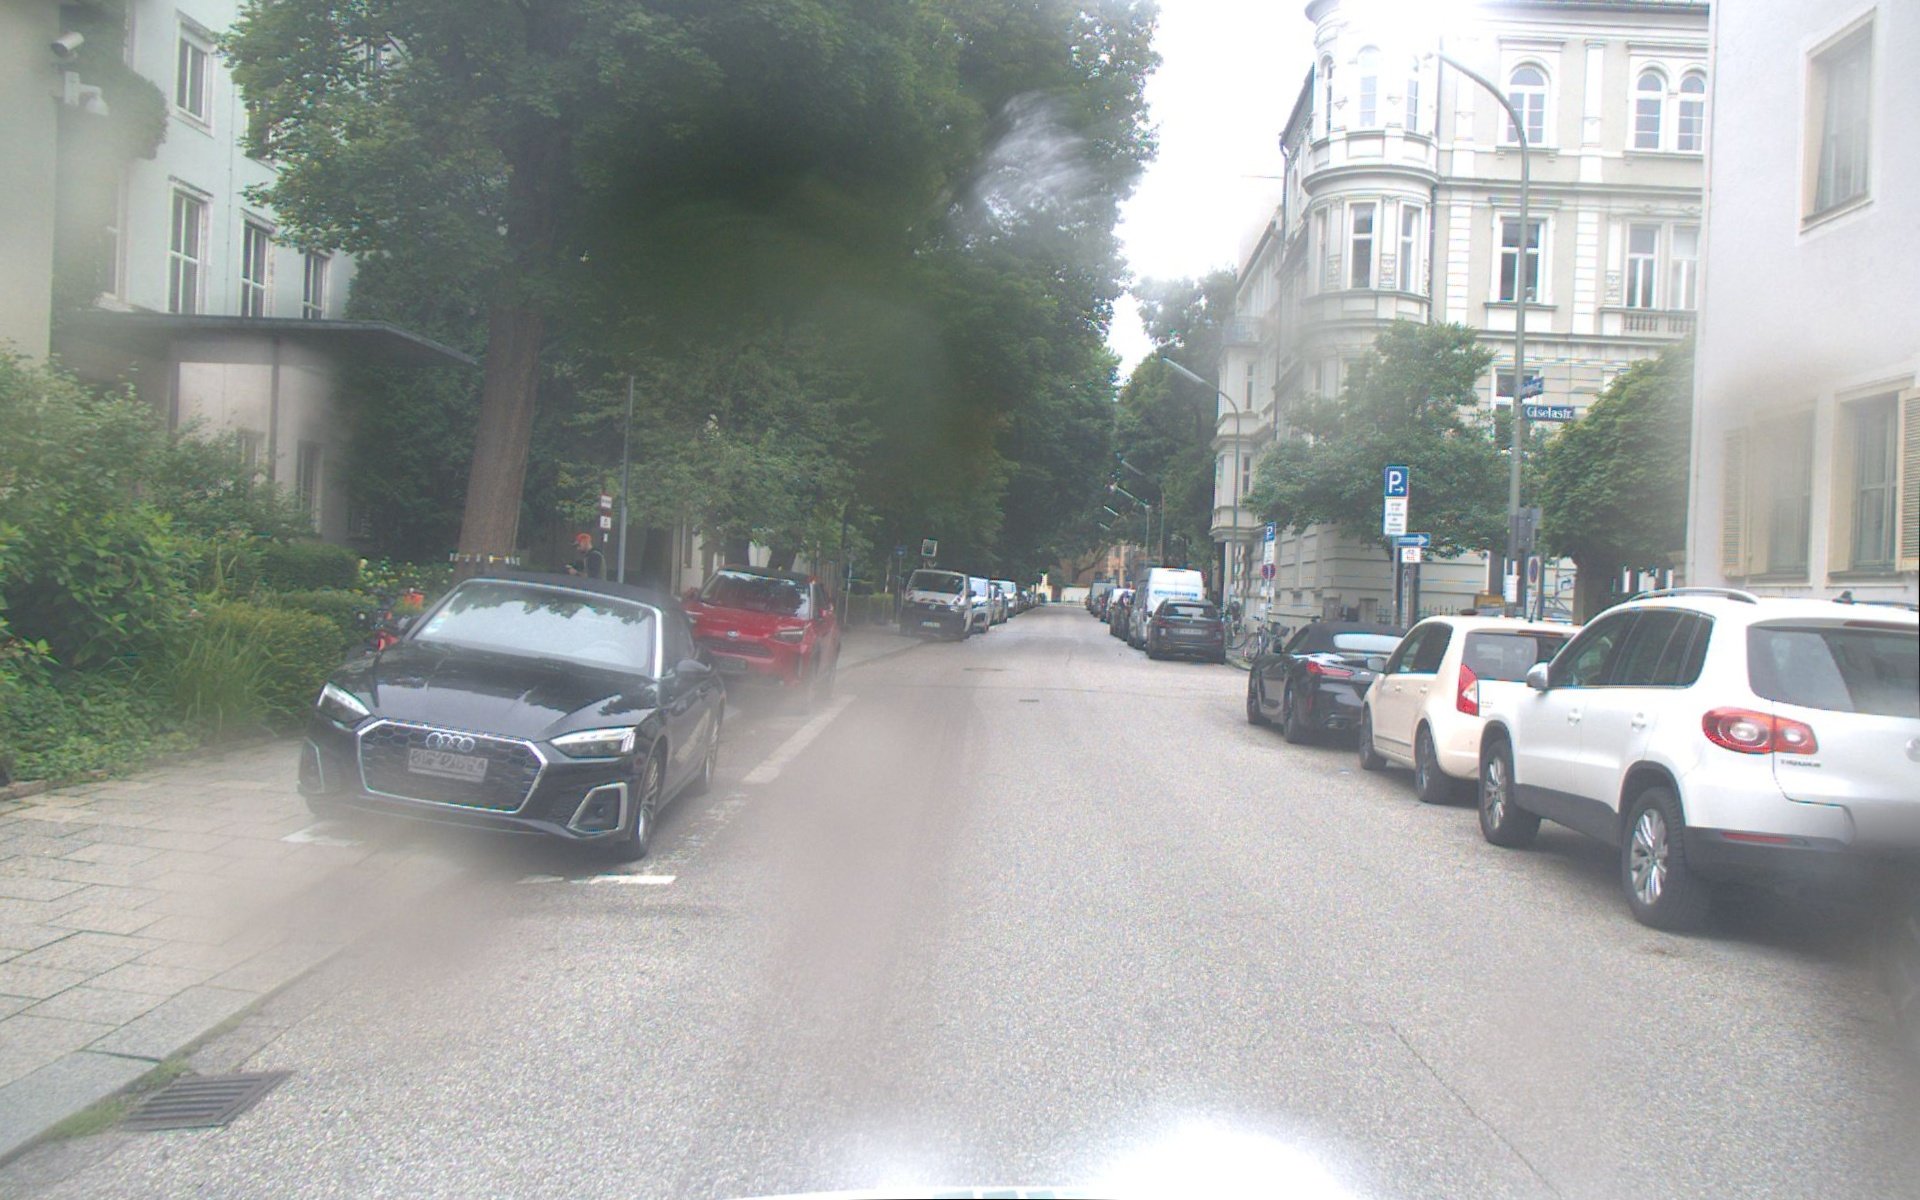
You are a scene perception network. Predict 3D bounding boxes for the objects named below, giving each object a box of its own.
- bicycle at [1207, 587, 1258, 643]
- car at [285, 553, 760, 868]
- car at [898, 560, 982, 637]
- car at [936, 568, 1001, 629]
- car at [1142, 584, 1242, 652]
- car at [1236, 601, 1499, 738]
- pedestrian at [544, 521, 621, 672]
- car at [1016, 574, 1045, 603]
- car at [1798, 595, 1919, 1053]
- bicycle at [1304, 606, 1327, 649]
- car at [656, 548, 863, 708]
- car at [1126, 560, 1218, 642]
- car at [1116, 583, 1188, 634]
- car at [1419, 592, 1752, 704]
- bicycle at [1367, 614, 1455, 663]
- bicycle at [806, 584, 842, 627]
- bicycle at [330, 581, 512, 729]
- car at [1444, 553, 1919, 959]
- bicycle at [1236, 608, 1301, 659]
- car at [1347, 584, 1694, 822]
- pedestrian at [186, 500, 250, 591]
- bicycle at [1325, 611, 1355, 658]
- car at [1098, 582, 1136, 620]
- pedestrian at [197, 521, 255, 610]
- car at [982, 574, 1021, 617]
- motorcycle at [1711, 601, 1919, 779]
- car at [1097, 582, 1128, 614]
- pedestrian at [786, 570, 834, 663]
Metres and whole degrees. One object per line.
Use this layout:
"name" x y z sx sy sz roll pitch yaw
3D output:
"bicycle" 7.825 0.412 47.574 0.695 1.542 2.032 2 1 -13
"car" -2.416 0.513 10.494 1.771 1.426 4.922 3 0 -2
"car" -0.532 -0.073 48.365 2.202 1.990 5.454 3 0 0
"car" 0.326 -0.081 60.063 2.139 1.990 5.167 3 0 0
"car" 5.697 0.419 41.203 2.224 1.573 4.590 1 0 5
"car" 4.521 0.704 19.091 1.958 1.342 4.596 0 0 1
"pedestrian" -4.917 -0.045 21.585 0.698 1.884 0.797 3 0 1
"car" 5.652 -0.938 132.999 2.005 2.192 4.314 3 0 0
"car" 4.146 0.800 4.290 1.800 1.558 4.417 1 1 2
"bicycle" 9.321 0.703 43.357 0.534 1.079 1.752 2 1 12
"car" -2.309 0.284 20.230 1.848 1.618 4.528 3 0 1
"car" 6.117 0.021 48.158 2.158 2.247 4.856 1 0 2
"car" 6.571 0.278 56.994 2.094 1.658 4.316 1 0 2
"car" 10.370 0.772 27.684 4.805 1.558 1.914 2 3 0
"bicycle" 10.469 0.891 38.418 1.882 1.046 0.557 2 1 6
"bicycle" -3.674 0.149 44.802 0.619 1.122 1.768 3 0 5
"bicycle" -4.565 0.428 14.174 0.635 1.150 2.049 2 1 7
"car" 4.461 0.709 9.590 1.953 1.736 4.535 4 1 1
"bicycle" 7.013 0.750 37.675 0.642 1.046 2.196 1 2 -12
"car" 4.616 0.758 14.211 1.735 1.572 3.713 7 1 3
"pedestrian" -14.949 -1.098 33.350 0.880 1.783 0.752 2 0 0
"bicycle" 9.136 0.815 39.807 0.421 1.046 1.892 2 2 5
"car" 8.651 0.027 91.155 1.951 2.010 4.003 2 1 5
"pedestrian" -15.199 -0.708 34.263 0.735 1.783 0.901 2 -1 -2
"car" 2.350 -0.241 93.023 1.961 2.224 4.697 3 0 2
"motorcycle" 8.021 0.765 15.300 0.839 1.458 2.706 2 0 -1
"car" 10.183 -0.174 110.297 1.951 2.049 4.003 2 1 5
"pedestrian" -2.659 0.284 29.411 0.699 1.575 0.752 4 0 -3
